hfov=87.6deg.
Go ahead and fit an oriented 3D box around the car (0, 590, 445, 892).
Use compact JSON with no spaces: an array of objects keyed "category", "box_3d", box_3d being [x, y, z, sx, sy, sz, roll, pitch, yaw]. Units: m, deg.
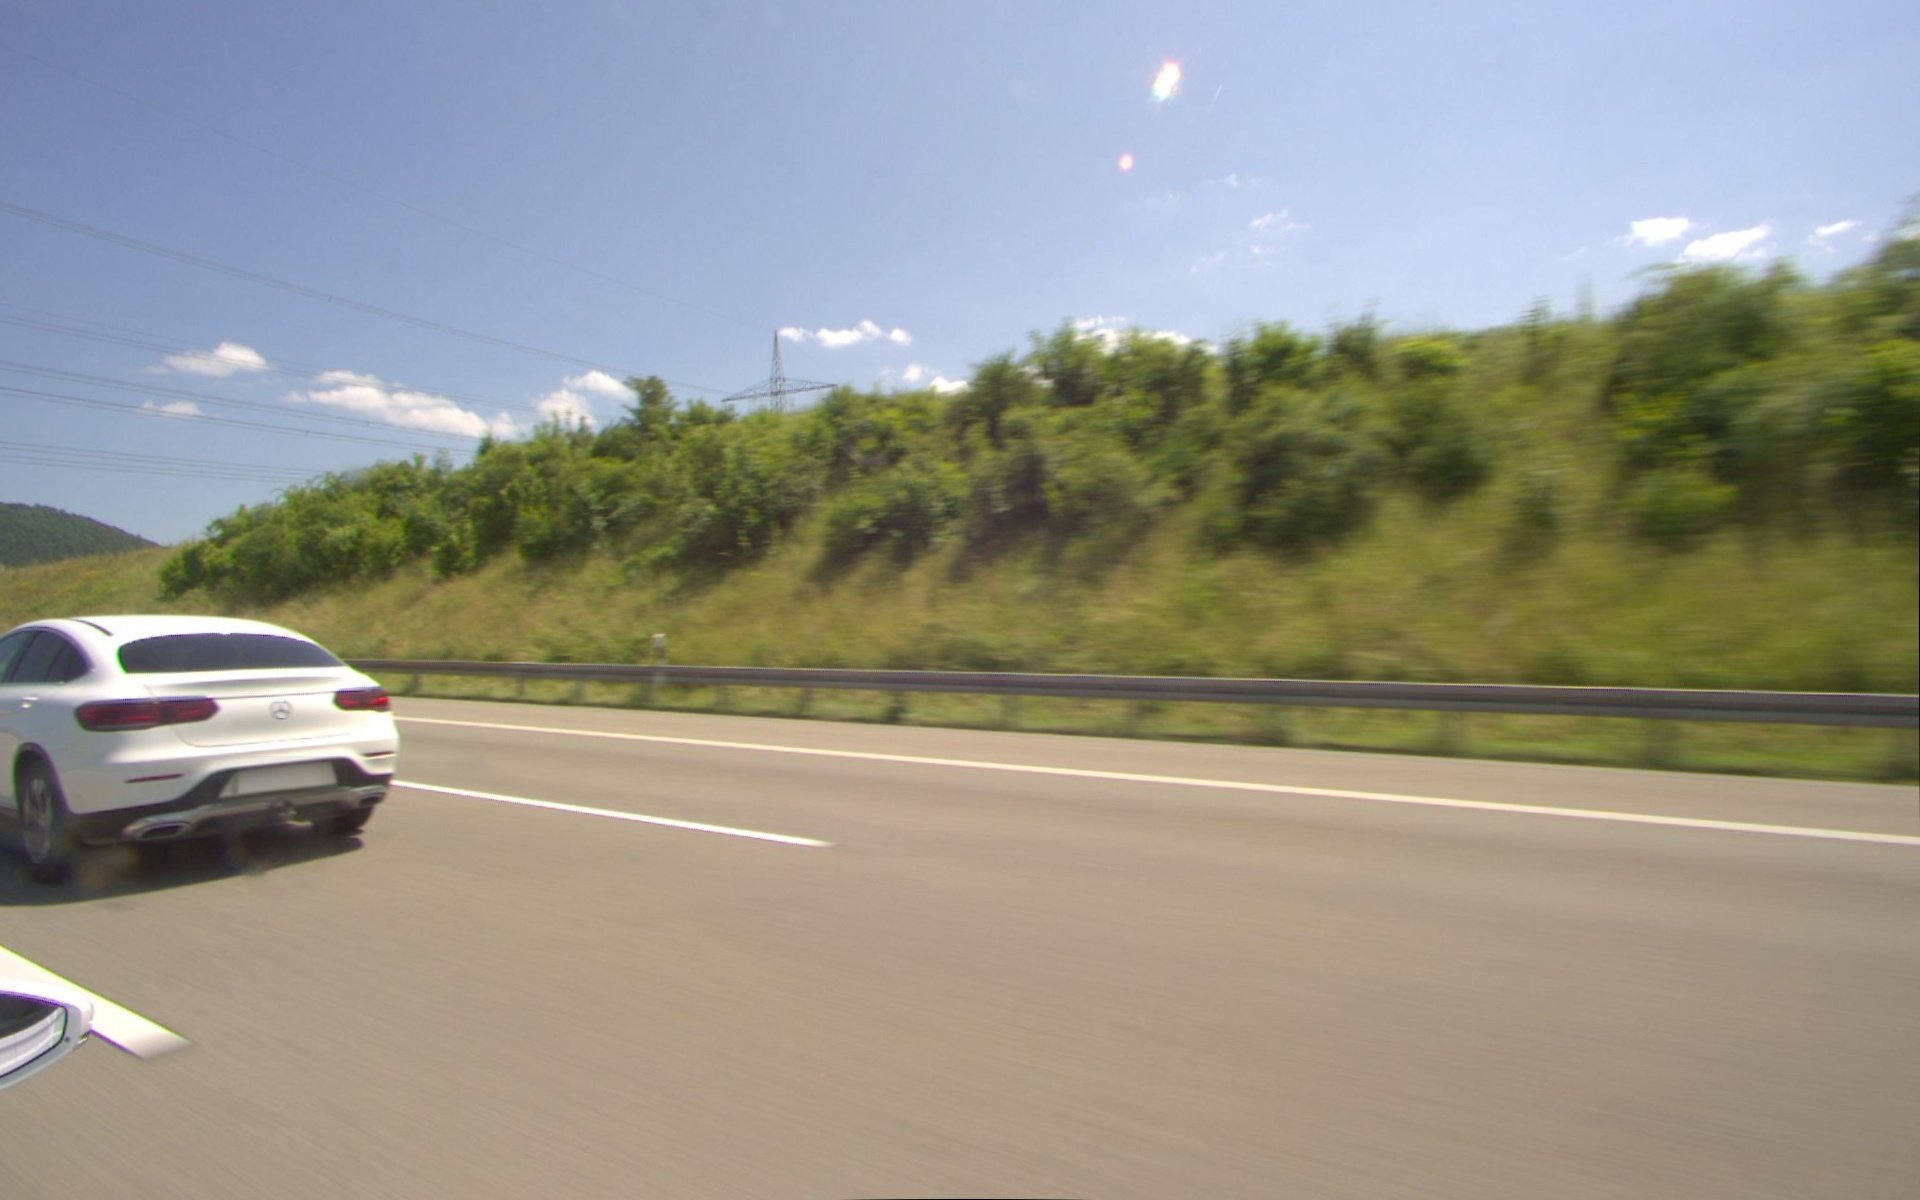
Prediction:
[{"category":"car","box_3d":[-6.258,0.845,7.528,5.156,1.600,1.911,-2,-2,32]}]
